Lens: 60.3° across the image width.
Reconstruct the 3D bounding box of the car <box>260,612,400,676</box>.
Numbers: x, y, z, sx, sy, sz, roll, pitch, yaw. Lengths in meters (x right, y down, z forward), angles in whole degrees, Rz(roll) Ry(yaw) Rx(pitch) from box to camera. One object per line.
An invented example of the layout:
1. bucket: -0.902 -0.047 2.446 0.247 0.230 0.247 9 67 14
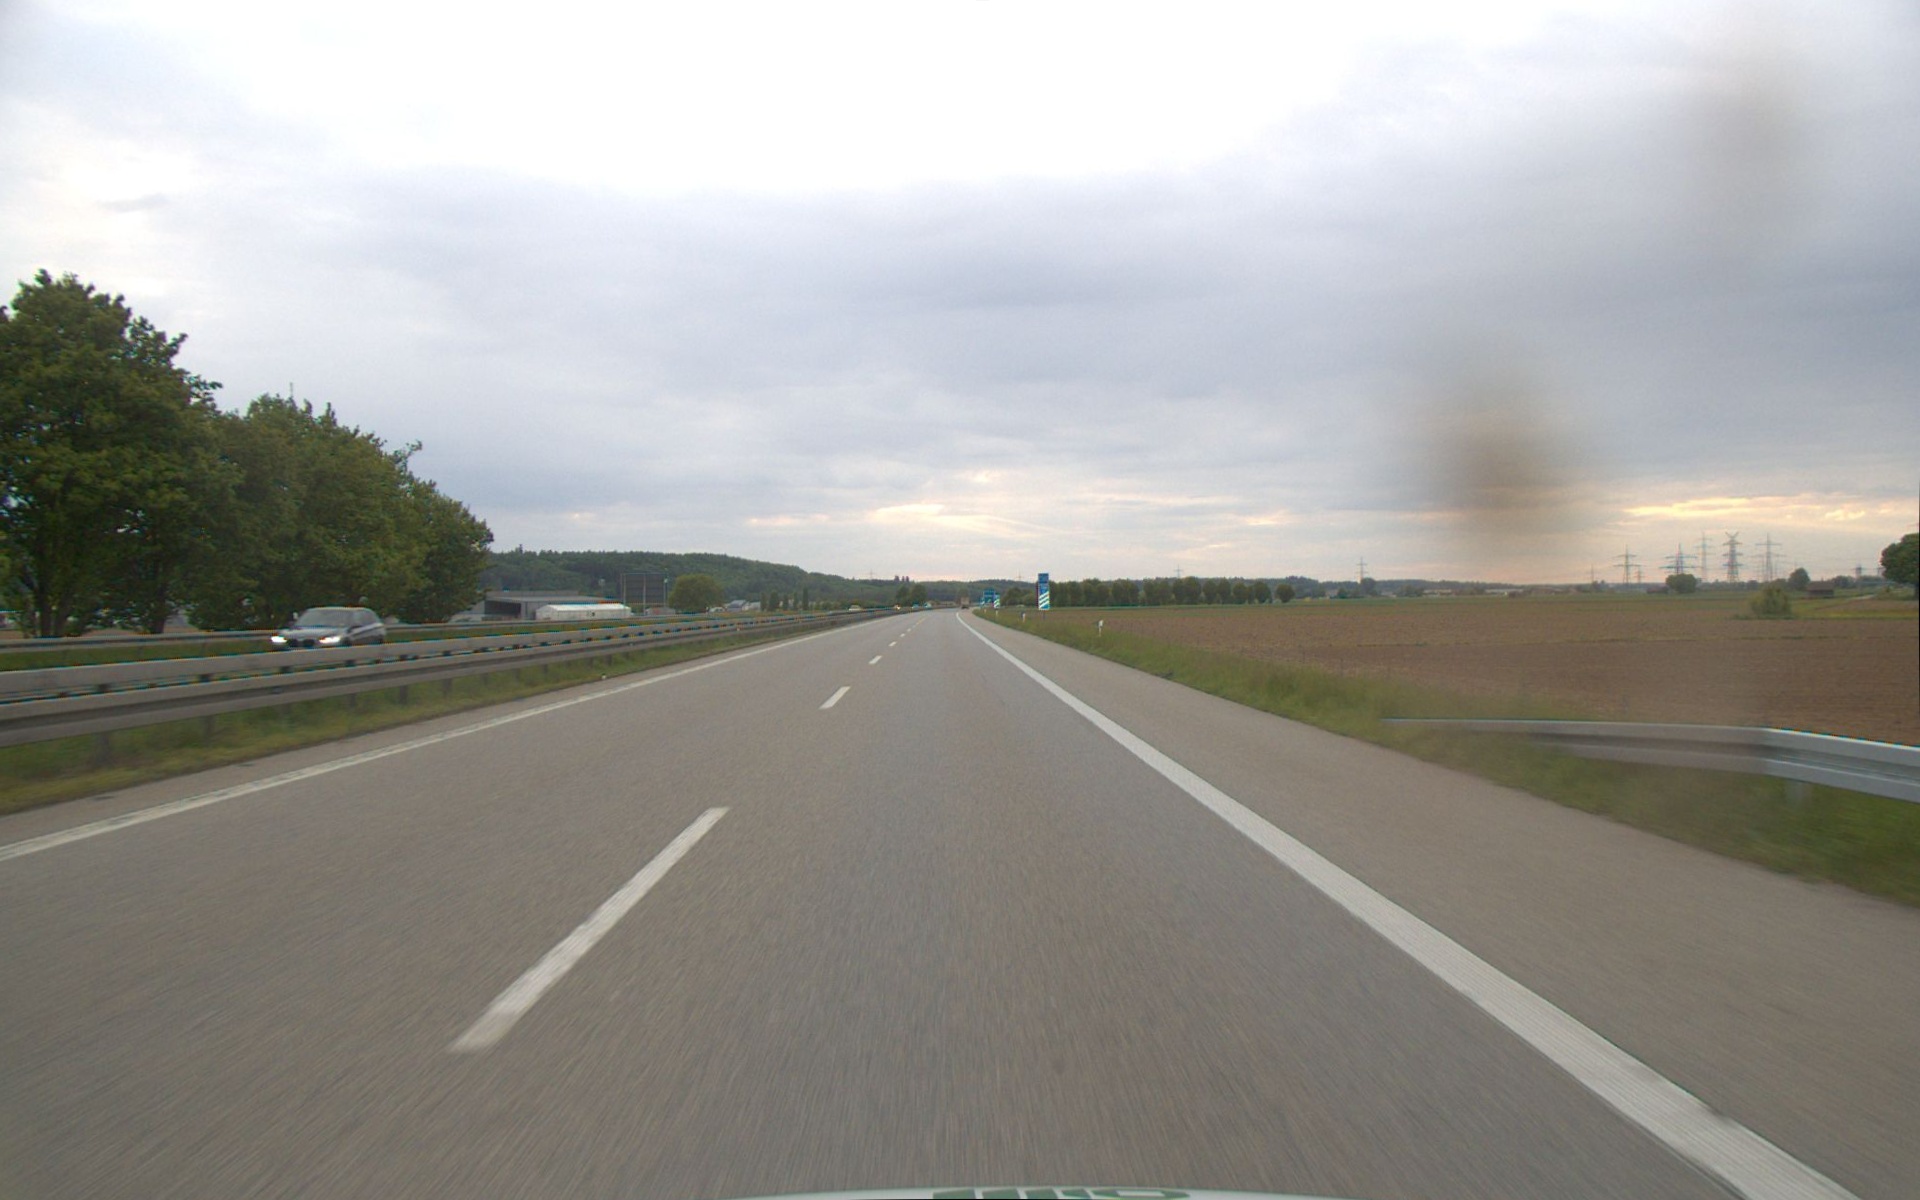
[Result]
1. car: -16.901 1.147 44.642 1.953 1.610 4.808 1 -1 -1
